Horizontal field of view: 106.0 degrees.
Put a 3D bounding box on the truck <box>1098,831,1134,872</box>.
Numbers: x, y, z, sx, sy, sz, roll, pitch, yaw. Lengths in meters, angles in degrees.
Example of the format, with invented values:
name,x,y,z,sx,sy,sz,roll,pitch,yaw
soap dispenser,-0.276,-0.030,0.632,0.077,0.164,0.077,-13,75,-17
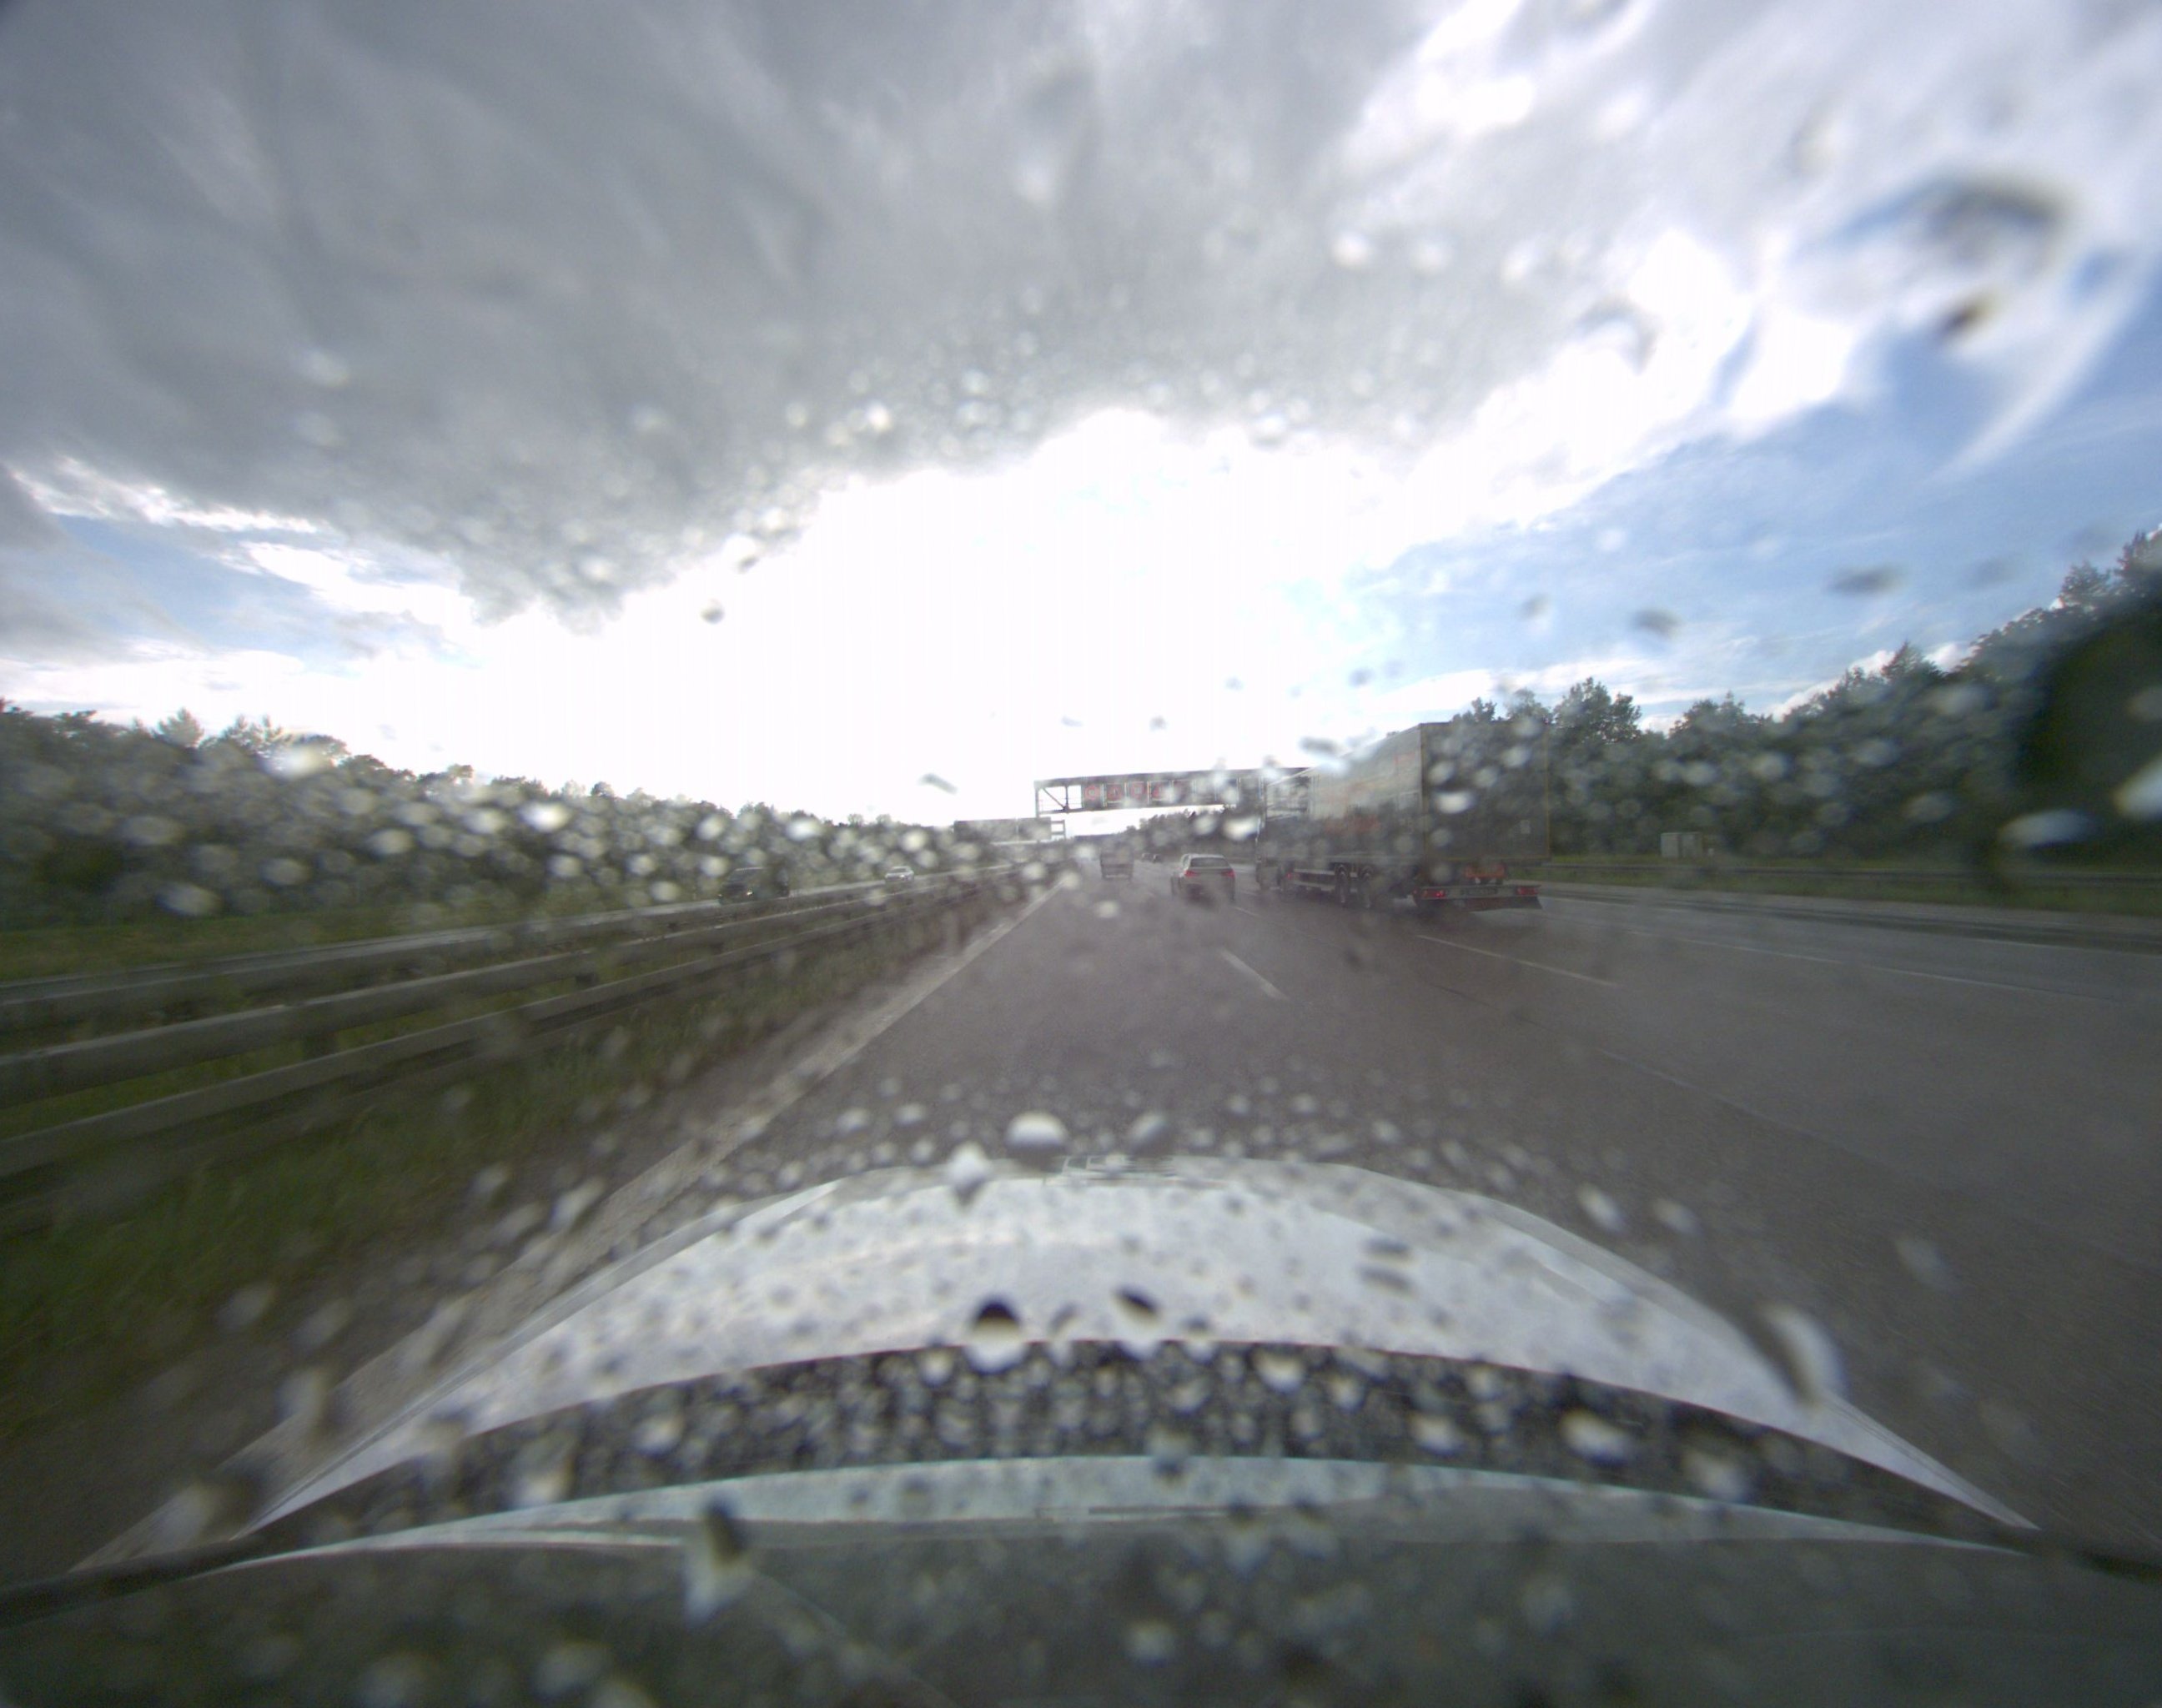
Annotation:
name,x,y,z,sx,sy,sz,roll,pitch,yaw
truck,2.321,-0.164,52.256,2.128,2.489,5.318,-1,0,4

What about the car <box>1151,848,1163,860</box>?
name,x,y,z,sx,sy,sz,roll,pitch,yaw
car,13.258,0.018,141.778,1.984,2.013,4.005,0,0,5

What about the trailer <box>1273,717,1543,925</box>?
name,x,y,z,sx,sy,sz,roll,pitch,yaw
trailer,7.955,-0.659,22.569,2.315,4.001,13.415,-1,0,1

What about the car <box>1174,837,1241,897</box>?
name,x,y,z,sx,sy,sz,roll,pitch,yaw
car,4.386,0.417,28.735,2.067,1.885,5.021,-1,0,7

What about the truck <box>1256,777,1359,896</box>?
name,x,y,z,sx,sy,sz,roll,pitch,yaw
truck,8.088,-0.588,29.713,2.285,3.868,5.393,-1,0,1

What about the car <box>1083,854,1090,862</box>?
name,x,y,z,sx,sy,sz,roll,pitch,yaw
car,1.370,0.911,210.284,1.611,2.013,4.001,0,0,1

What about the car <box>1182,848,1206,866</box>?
name,x,y,z,sx,sy,sz,roll,pitch,yaw
car,9.557,0.220,69.187,1.822,1.466,4.006,-1,0,6

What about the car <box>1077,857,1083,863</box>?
name,x,y,z,sx,sy,sz,roll,pitch,yaw
car,-0.231,1.951,257.333,1.787,2.013,4.003,0,0,3

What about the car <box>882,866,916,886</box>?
name,x,y,z,sx,sy,sz,roll,pitch,yaw
car,-15.713,1.874,70.481,1.843,1.445,4.321,-3,0,0

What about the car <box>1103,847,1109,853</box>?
name,x,y,z,sx,sy,sz,roll,pitch,yaw
car,8.058,-1.374,260.964,1.986,2.013,4.001,0,0,1

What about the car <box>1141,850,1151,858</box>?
name,x,y,z,sx,sy,sz,roll,pitch,yaw
car,13.396,-0.017,168.329,1.734,1.688,4.001,-1,0,1

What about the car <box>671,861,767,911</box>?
name,x,y,z,sx,sy,sz,roll,pitch,yaw
car,-16.242,1.366,36.876,1.986,1.917,4.725,-5,0,1
